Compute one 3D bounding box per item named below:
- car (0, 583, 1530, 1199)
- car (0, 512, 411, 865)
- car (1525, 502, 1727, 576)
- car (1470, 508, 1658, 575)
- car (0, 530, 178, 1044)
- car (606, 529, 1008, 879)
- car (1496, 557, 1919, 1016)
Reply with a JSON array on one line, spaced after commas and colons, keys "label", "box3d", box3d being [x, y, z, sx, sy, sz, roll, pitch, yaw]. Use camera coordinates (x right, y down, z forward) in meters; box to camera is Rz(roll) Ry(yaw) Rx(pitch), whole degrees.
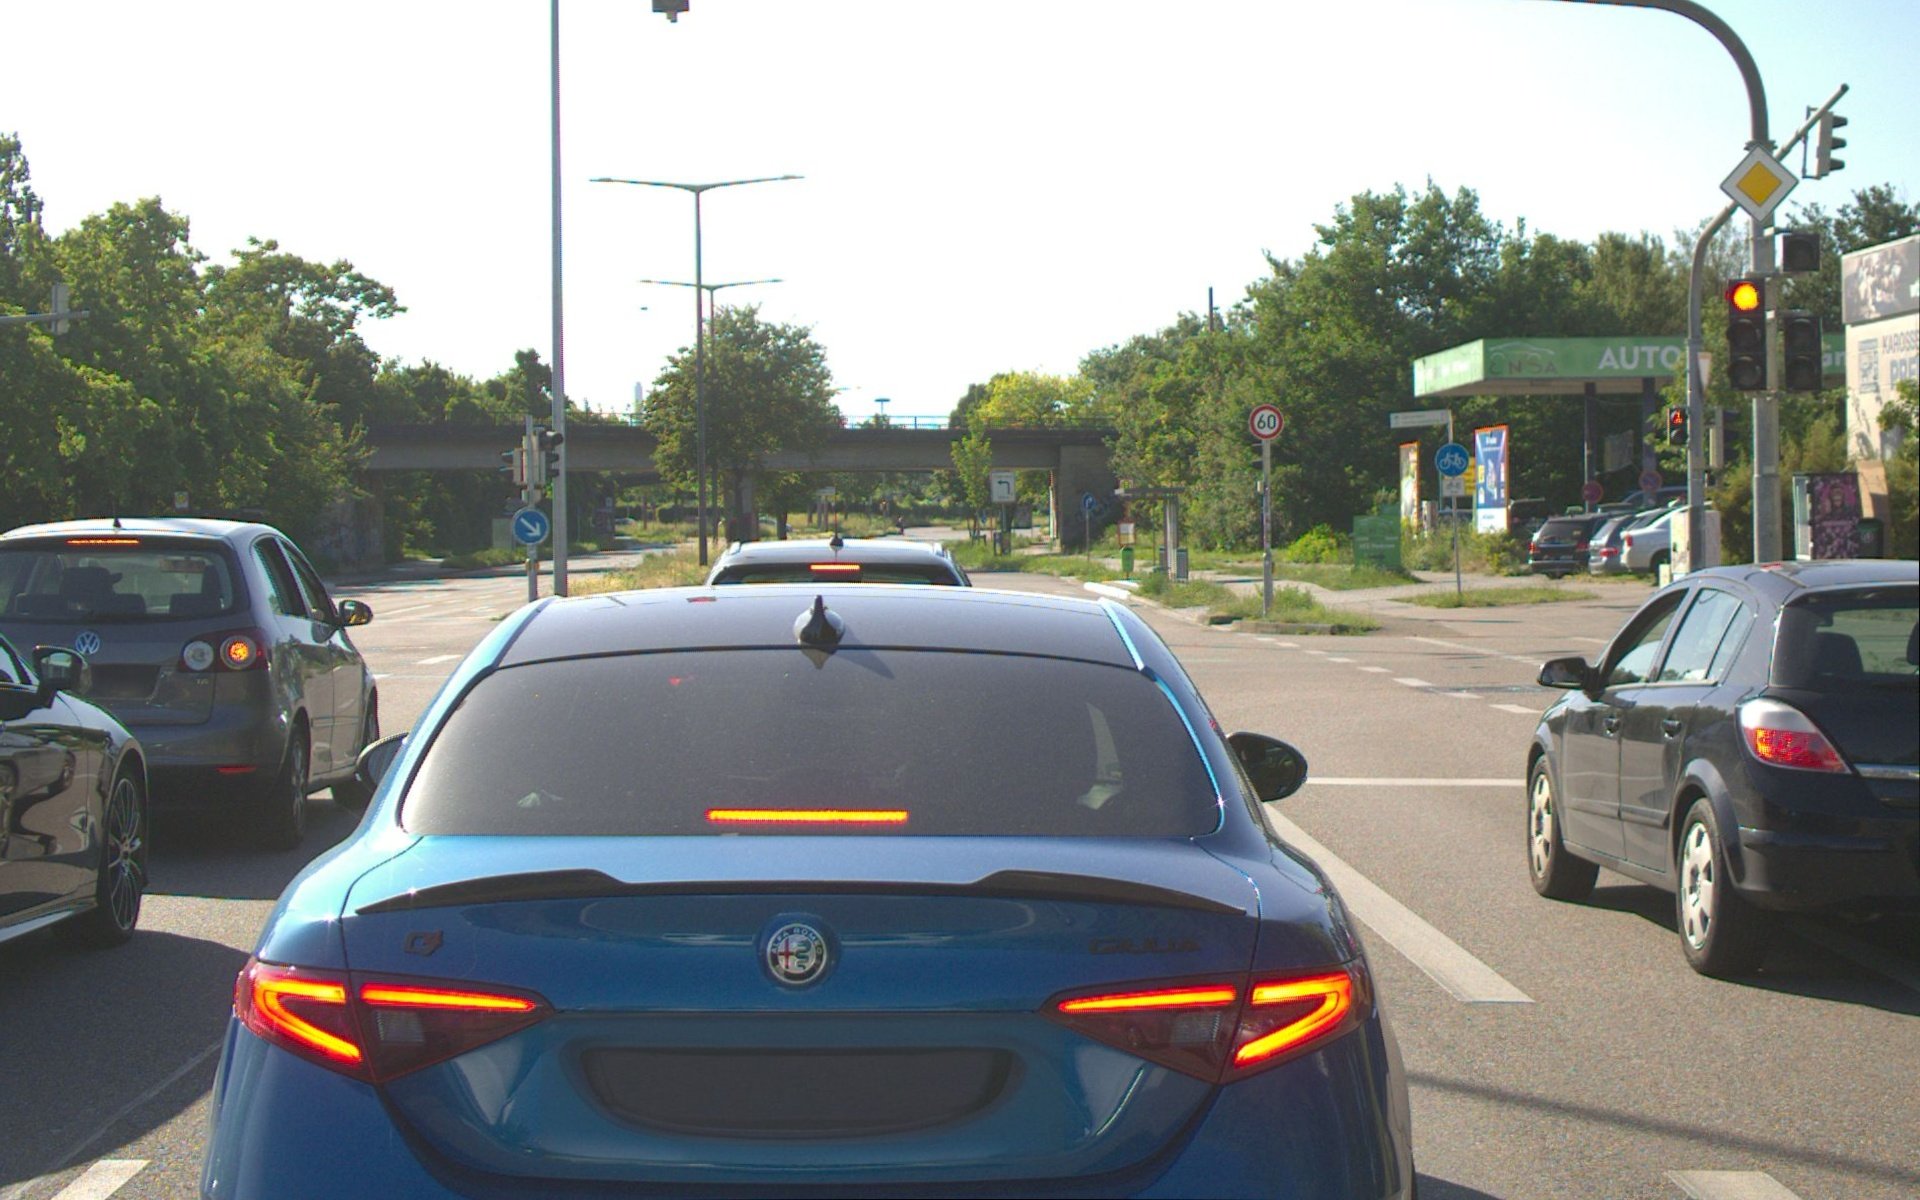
[{"label": "car", "box3d": [-0.229, 0.700, 6.106, 1.910, 1.418, 3.719, 1, 1, 1]}, {"label": "car", "box3d": [-3.969, 0.369, 17.406, 1.812, 1.546, 4.354, 1, 1, -2]}, {"label": "car", "box3d": [14.446, -1.318, 74.676, 3.987, 1.547, 2.000, 1, 0, 1]}, {"label": "car", "box3d": [14.631, -1.402, 83.337, 3.986, 1.547, 2.001, 1, 0, -18]}, {"label": "car", "box3d": [-3.800, 0.552, 10.637, 1.812, 1.546, 4.544, 0, 1, -1]}, {"label": "car", "box3d": [-0.638, 0.433, 16.760, 1.704, 1.492, 3.719, 1, 1, 1]}, {"label": "car", "box3d": [3.297, 0.576, 13.134, 1.734, 1.437, 4.372, 1, 1, -1]}]
